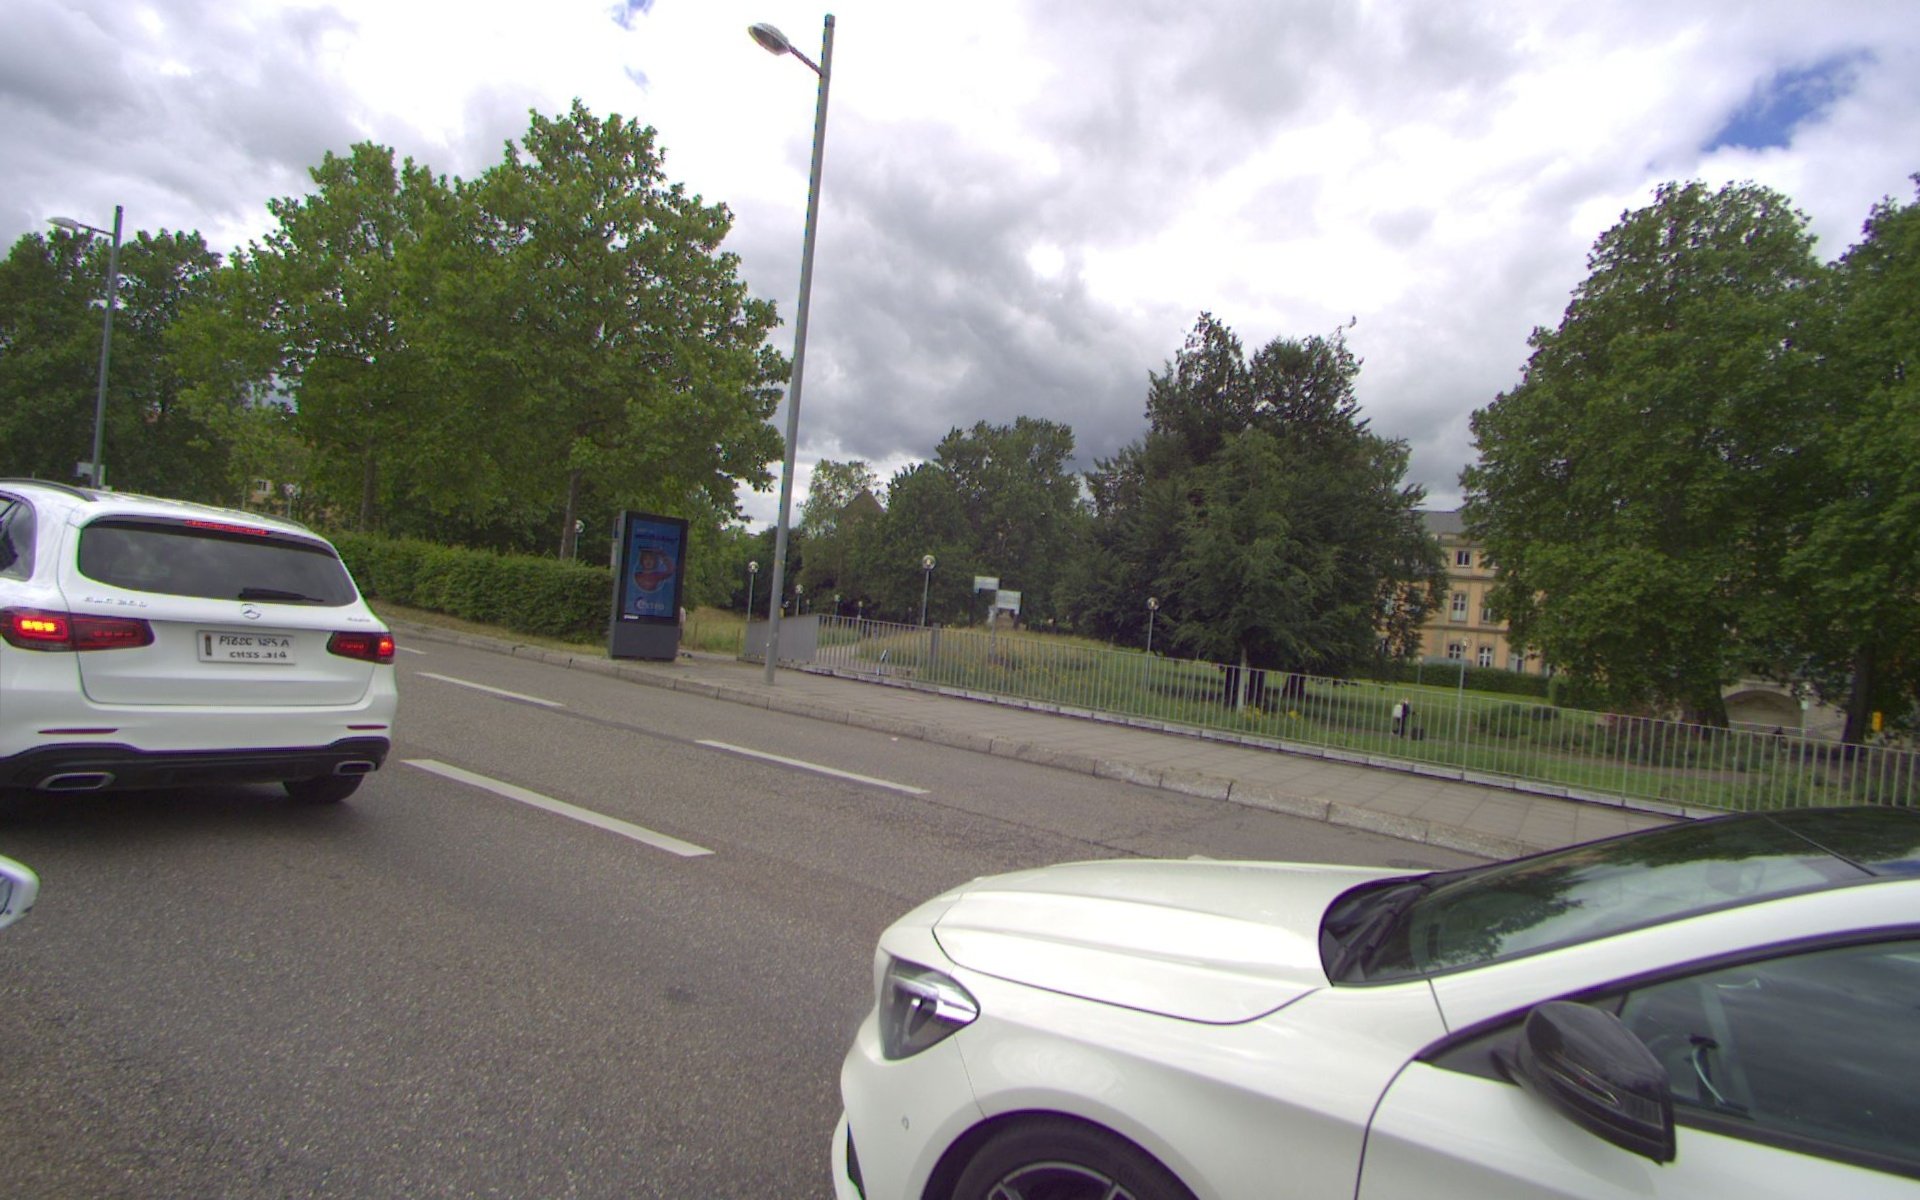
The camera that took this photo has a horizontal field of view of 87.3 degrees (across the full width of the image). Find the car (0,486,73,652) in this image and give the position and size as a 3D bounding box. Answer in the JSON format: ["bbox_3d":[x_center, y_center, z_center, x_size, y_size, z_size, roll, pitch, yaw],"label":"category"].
[{"bbox_3d":[-11.349,-0.527,10.491,4.417,1.569,1.929,6,-2,33],"label":"car"}]

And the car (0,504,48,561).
[{"bbox_3d":[-29.215,-2.140,30.108,4.459,1.476,1.933,5,-3,37],"label":"car"}]

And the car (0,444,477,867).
[{"bbox_3d":[-5.112,0.105,5.948,4.417,1.673,1.929,6,-1,33],"label":"car"}]

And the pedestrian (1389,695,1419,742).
[{"bbox_3d":[16.395,4.363,37.175,0.645,1.619,0.684,6,-2,-1],"label":"pedestrian"}]

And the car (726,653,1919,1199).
[{"bbox_3d":[1.850,1.090,1.841,4.454,1.436,1.796,5,-2,33],"label":"car"}]

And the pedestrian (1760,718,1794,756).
[{"bbox_3d":[48.285,8.073,59.438,0.927,2.036,1.104,7,-2,-11],"label":"pedestrian"}]
